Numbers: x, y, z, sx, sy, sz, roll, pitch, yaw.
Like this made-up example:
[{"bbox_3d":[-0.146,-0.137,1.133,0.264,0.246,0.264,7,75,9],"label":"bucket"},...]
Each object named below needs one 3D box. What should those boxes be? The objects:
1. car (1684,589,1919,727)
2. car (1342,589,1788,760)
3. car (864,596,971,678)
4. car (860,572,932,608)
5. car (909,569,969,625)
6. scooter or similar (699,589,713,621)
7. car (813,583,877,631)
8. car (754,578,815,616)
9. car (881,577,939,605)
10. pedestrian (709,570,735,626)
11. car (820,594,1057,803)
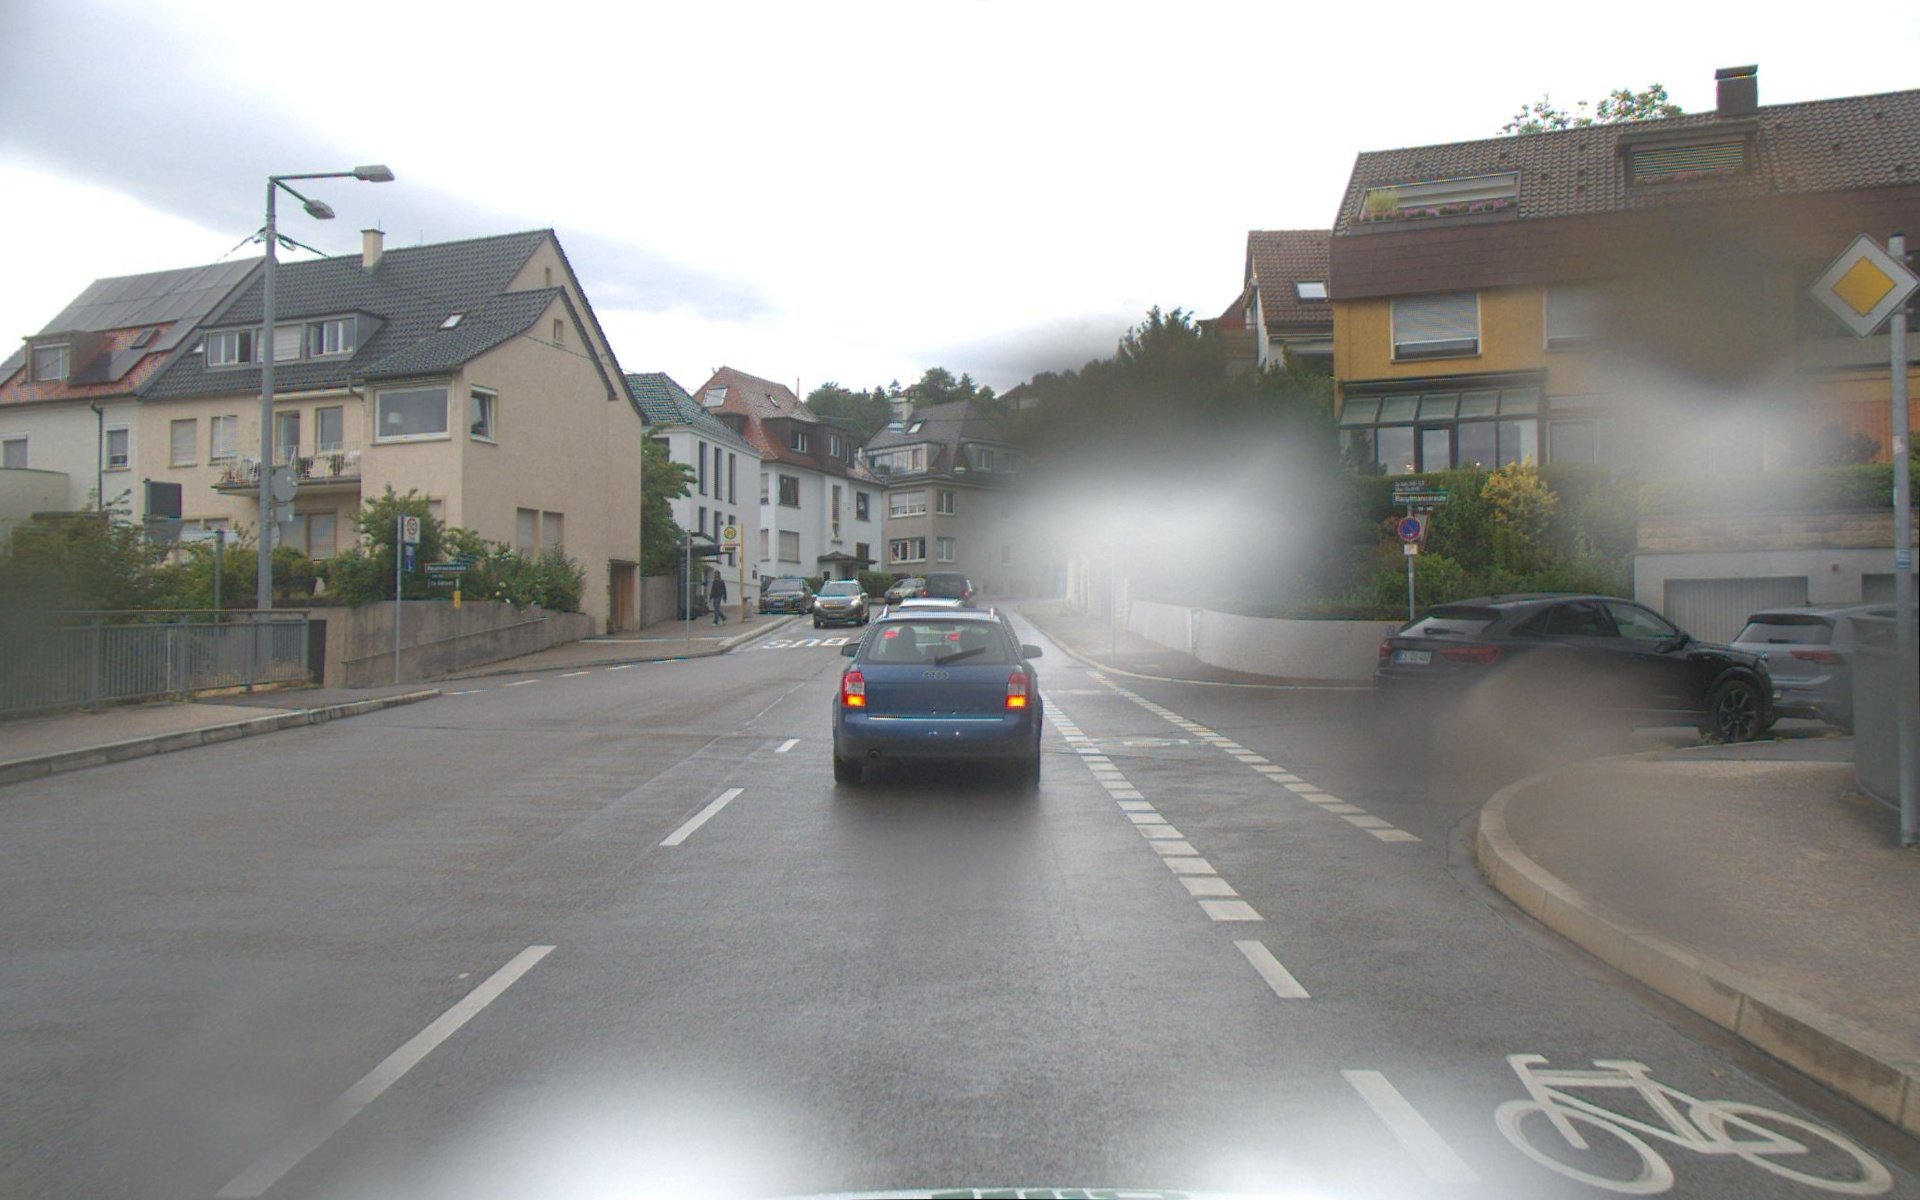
[{"bbox_3d":[10.539,0.614,19.002,3.986,1.450,1.789,0,-1,-22],"label":"car"},{"bbox_3d":[6.226,0.679,17.044,4.133,1.549,1.985,0,1,-24],"label":"car"},{"bbox_3d":[-0.848,0.648,30.562,1.776,1.384,3.996,1,0,-4],"label":"car"},{"bbox_3d":[-4.038,-0.618,104.212,3.911,1.854,1.998,-6,-1,28],"label":"car"},{"bbox_3d":[-0.658,-0.118,55.566,1.888,1.735,4.000,-2,1,0],"label":"car"},{"bbox_3d":[-9.992,0.197,65.060,0.330,1.241,1.123,0,1,1],"label":"scooter or similar"},{"bbox_3d":[-3.955,0.235,57.468,1.697,1.572,4.002,-2,0,3],"label":"car"},{"bbox_3d":[-7.330,-0.146,69.650,1.790,1.511,4.993,-1,1,3],"label":"car"},{"bbox_3d":[-2.838,-0.544,95.200,1.798,1.450,4.230,-2,0,22],"label":"car"},{"bbox_3d":[-8.063,-0.064,56.013,0.770,1.889,0.728,1,0,0],"label":"pedestrian"},{"bbox_3d":[-0.147,0.738,14.553,1.774,1.464,4.082,1,1,0],"label":"car"}]
